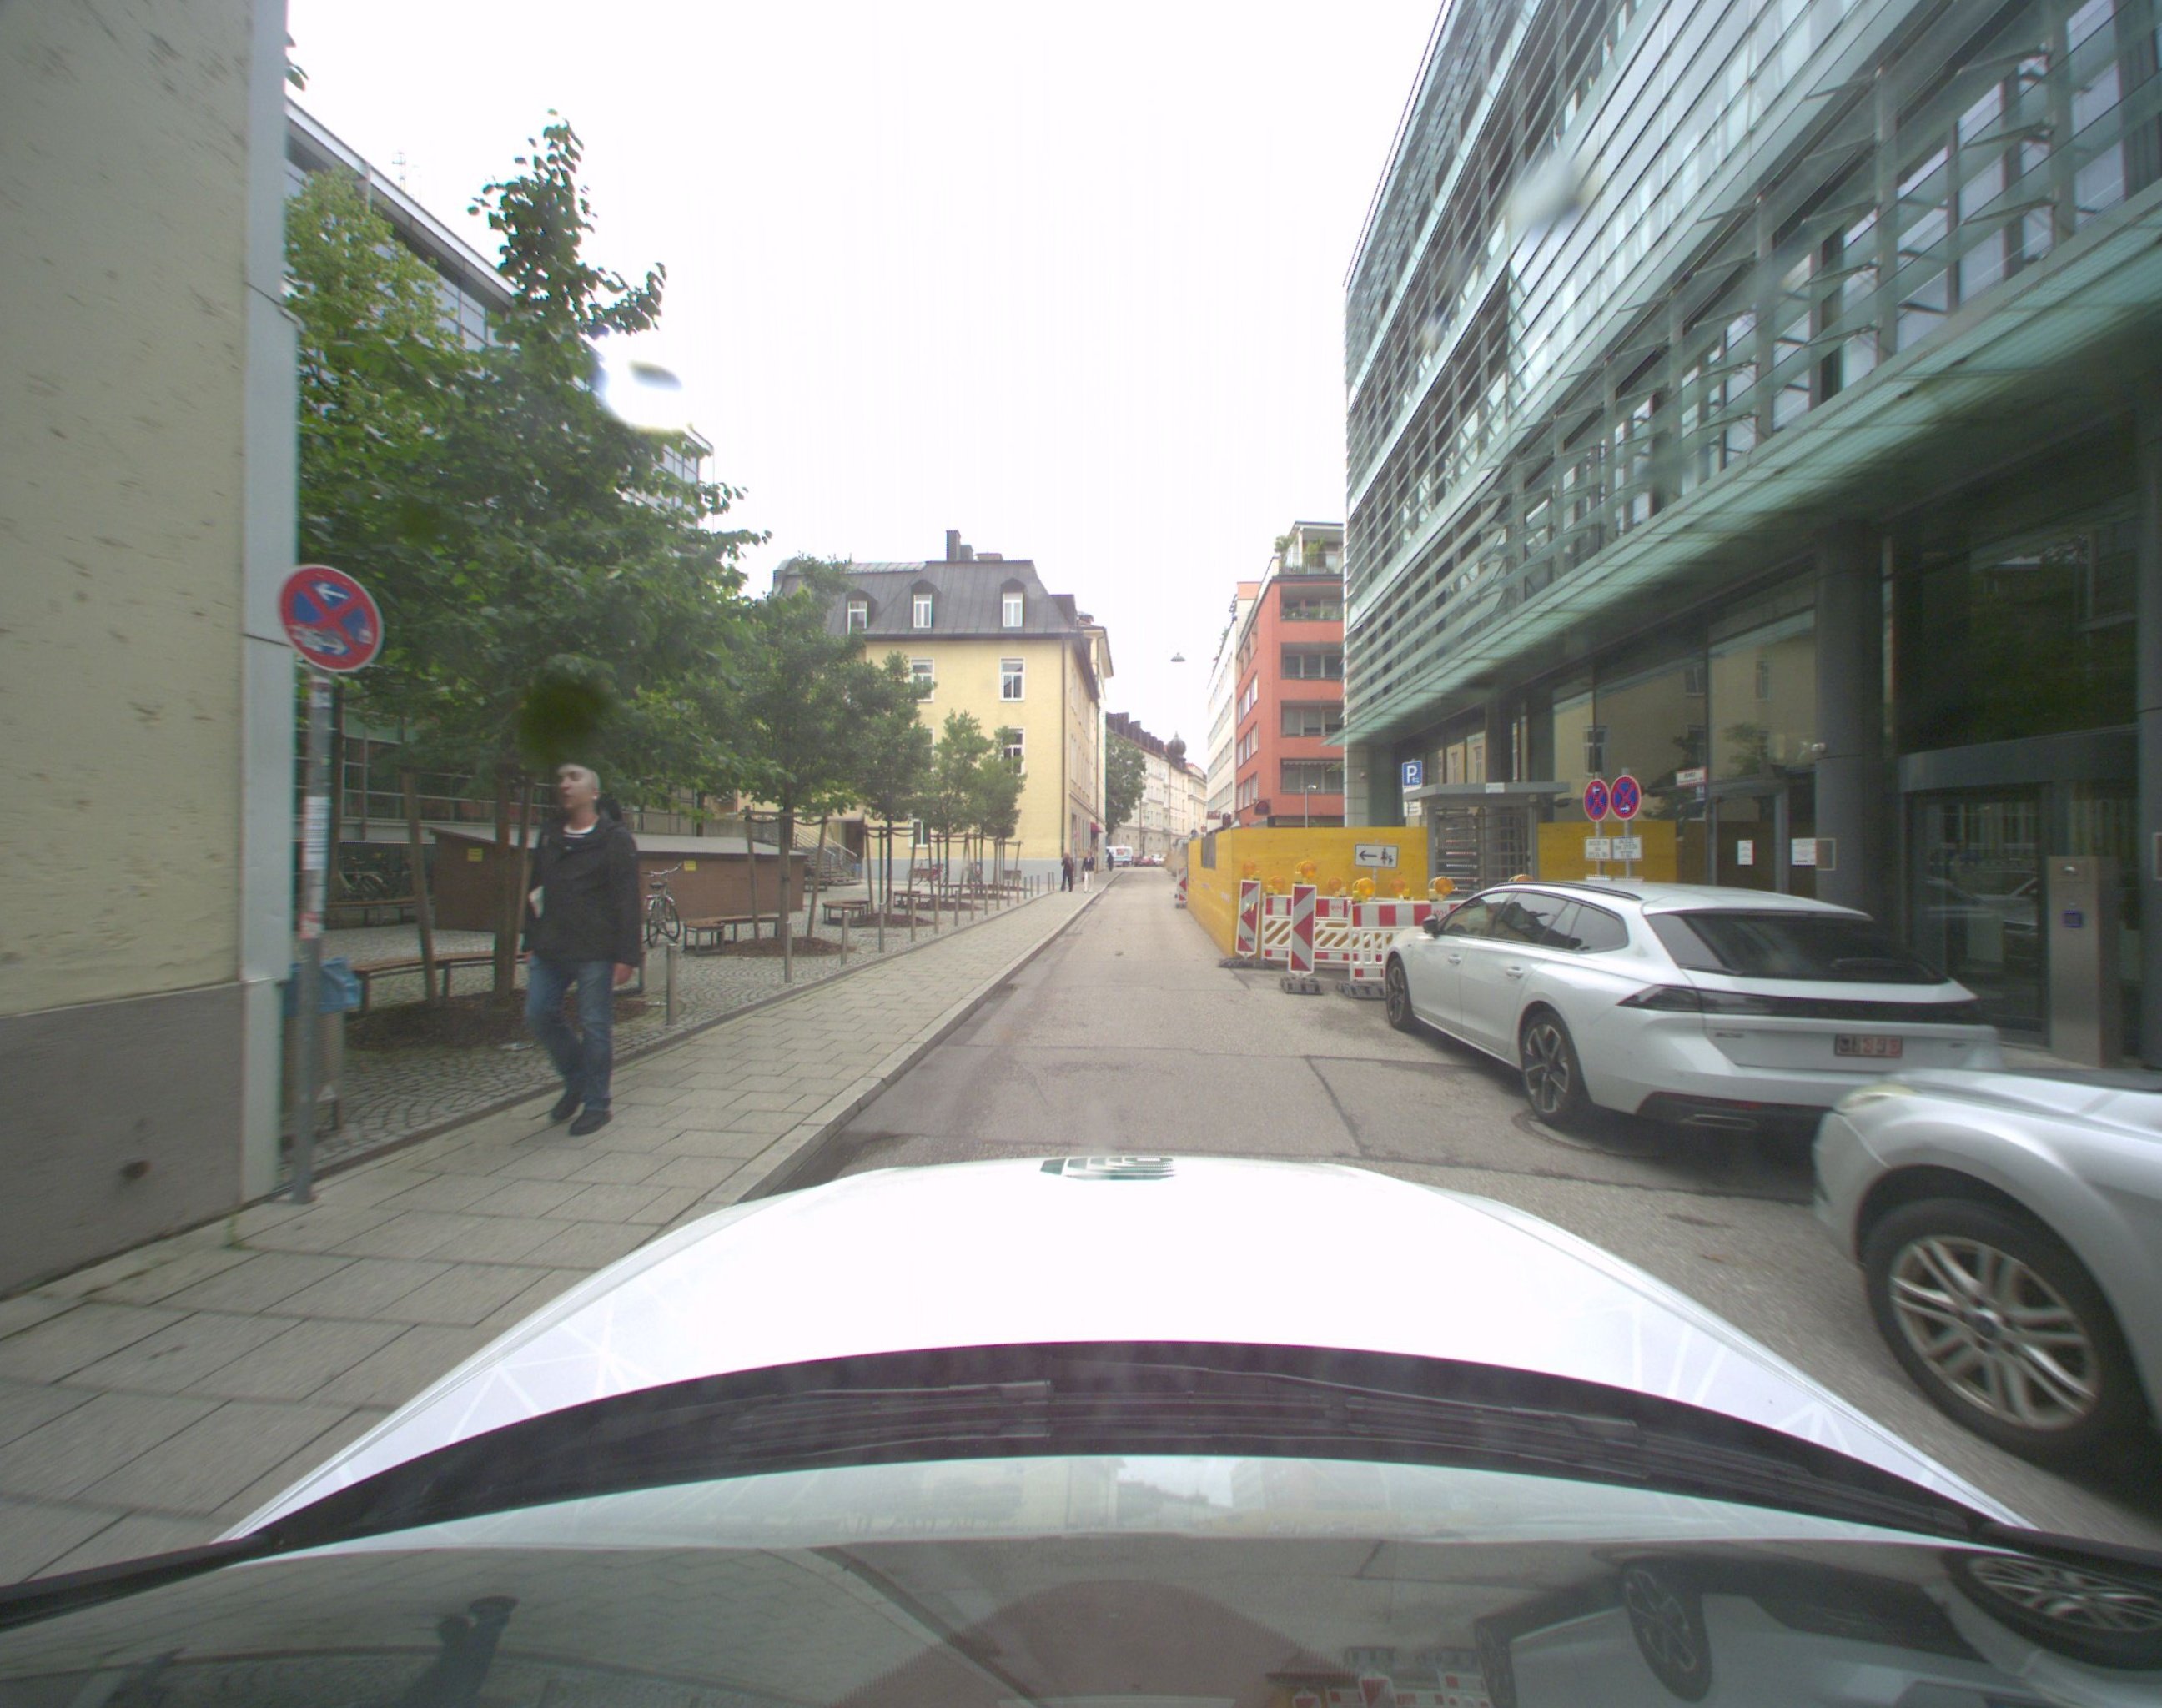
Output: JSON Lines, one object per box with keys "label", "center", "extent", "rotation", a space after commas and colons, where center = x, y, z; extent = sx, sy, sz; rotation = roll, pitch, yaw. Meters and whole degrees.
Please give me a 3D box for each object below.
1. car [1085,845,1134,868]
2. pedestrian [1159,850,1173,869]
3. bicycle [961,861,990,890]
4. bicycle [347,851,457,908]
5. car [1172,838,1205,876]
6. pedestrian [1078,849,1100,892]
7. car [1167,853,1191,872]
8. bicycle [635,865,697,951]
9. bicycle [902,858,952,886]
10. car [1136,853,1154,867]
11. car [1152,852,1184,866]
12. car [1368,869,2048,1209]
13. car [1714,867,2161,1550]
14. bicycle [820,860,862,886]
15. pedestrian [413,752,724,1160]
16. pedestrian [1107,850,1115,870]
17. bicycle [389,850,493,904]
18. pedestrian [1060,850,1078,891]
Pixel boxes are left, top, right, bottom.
{"label": "car", "center": [3.113, 0.255, 89.765], "extent": [5.000, 2.398, 1.984], "rotation": [1, 0, -24]}
{"label": "pedestrian", "center": [9.081, 0.610, 87.379], "extent": [1.123, 2.014, 1.416], "rotation": [1, 0, 20]}
{"label": "bicycle", "center": [-4.360, 0.879, 33.793], "extent": [0.506, 1.144, 2.059], "rotation": [1, 0, 12]}
{"label": "bicycle", "center": [-14.524, 0.531, 17.430], "extent": [1.977, 1.160, 0.654], "rotation": [1, 0, 10]}
{"label": "car", "center": [7.600, 0.222, 57.962], "extent": [1.985, 2.536, 4.979], "rotation": [1, 0, 3]}
{"label": "pedestrian", "center": [0.320, 0.667, 33.463], "extent": [0.835, 1.700, 0.804], "rotation": [1, -1, 3]}
{"label": "car", "center": [8.583, 0.749, 71.649], "extent": [1.780, 1.625, 4.277], "rotation": [1, 0, 3]}
{"label": "bicycle", "center": [-6.386, 0.792, 12.590], "extent": [0.551, 1.197, 1.826], "rotation": [1, 0, -18]}
{"label": "bicycle", "center": [-6.740, 0.780, 35.674], "extent": [2.030, 1.197, 0.572], "rotation": [1, 0, 11]}
{"label": "car", "center": [7.731, 0.689, 98.063], "extent": [1.680, 1.574, 4.012], "rotation": [1, 0, 11]}
{"label": "car", "center": [10.294, 0.572, 96.150], "extent": [1.676, 1.574, 4.023], "rotation": [1, 0, 44]}
{"label": "car", "center": [3.604, 0.863, 5.920], "extent": [1.700, 1.414, 4.514], "rotation": [2, 0, 4]}
{"label": "car", "center": [3.196, 0.791, 0.927], "extent": [1.701, 1.467, 4.237], "rotation": [2, 0, 1]}
{"label": "bicycle", "center": [-10.485, 0.820, 35.630], "extent": [1.647, 1.069, 0.599], "rotation": [1, 0, 8]}
{"label": "pedestrian", "center": [-2.640, 0.472, 4.366], "extent": [0.864, 1.881, 1.136], "rotation": [1, -1, 3]}
{"label": "pedestrian", "center": [2.605, 0.524, 71.097], "extent": [0.632, 1.675, 0.518], "rotation": [1, 0, 4]}
{"label": "bicycle", "center": [-14.382, 0.509, 18.314], "extent": [1.977, 1.160, 0.654], "rotation": [1, 0, 10]}
{"label": "pedestrian", "center": [-0.495, 0.676, 33.531], "extent": [0.667, 1.648, 0.762], "rotation": [1, -1, 3]}
